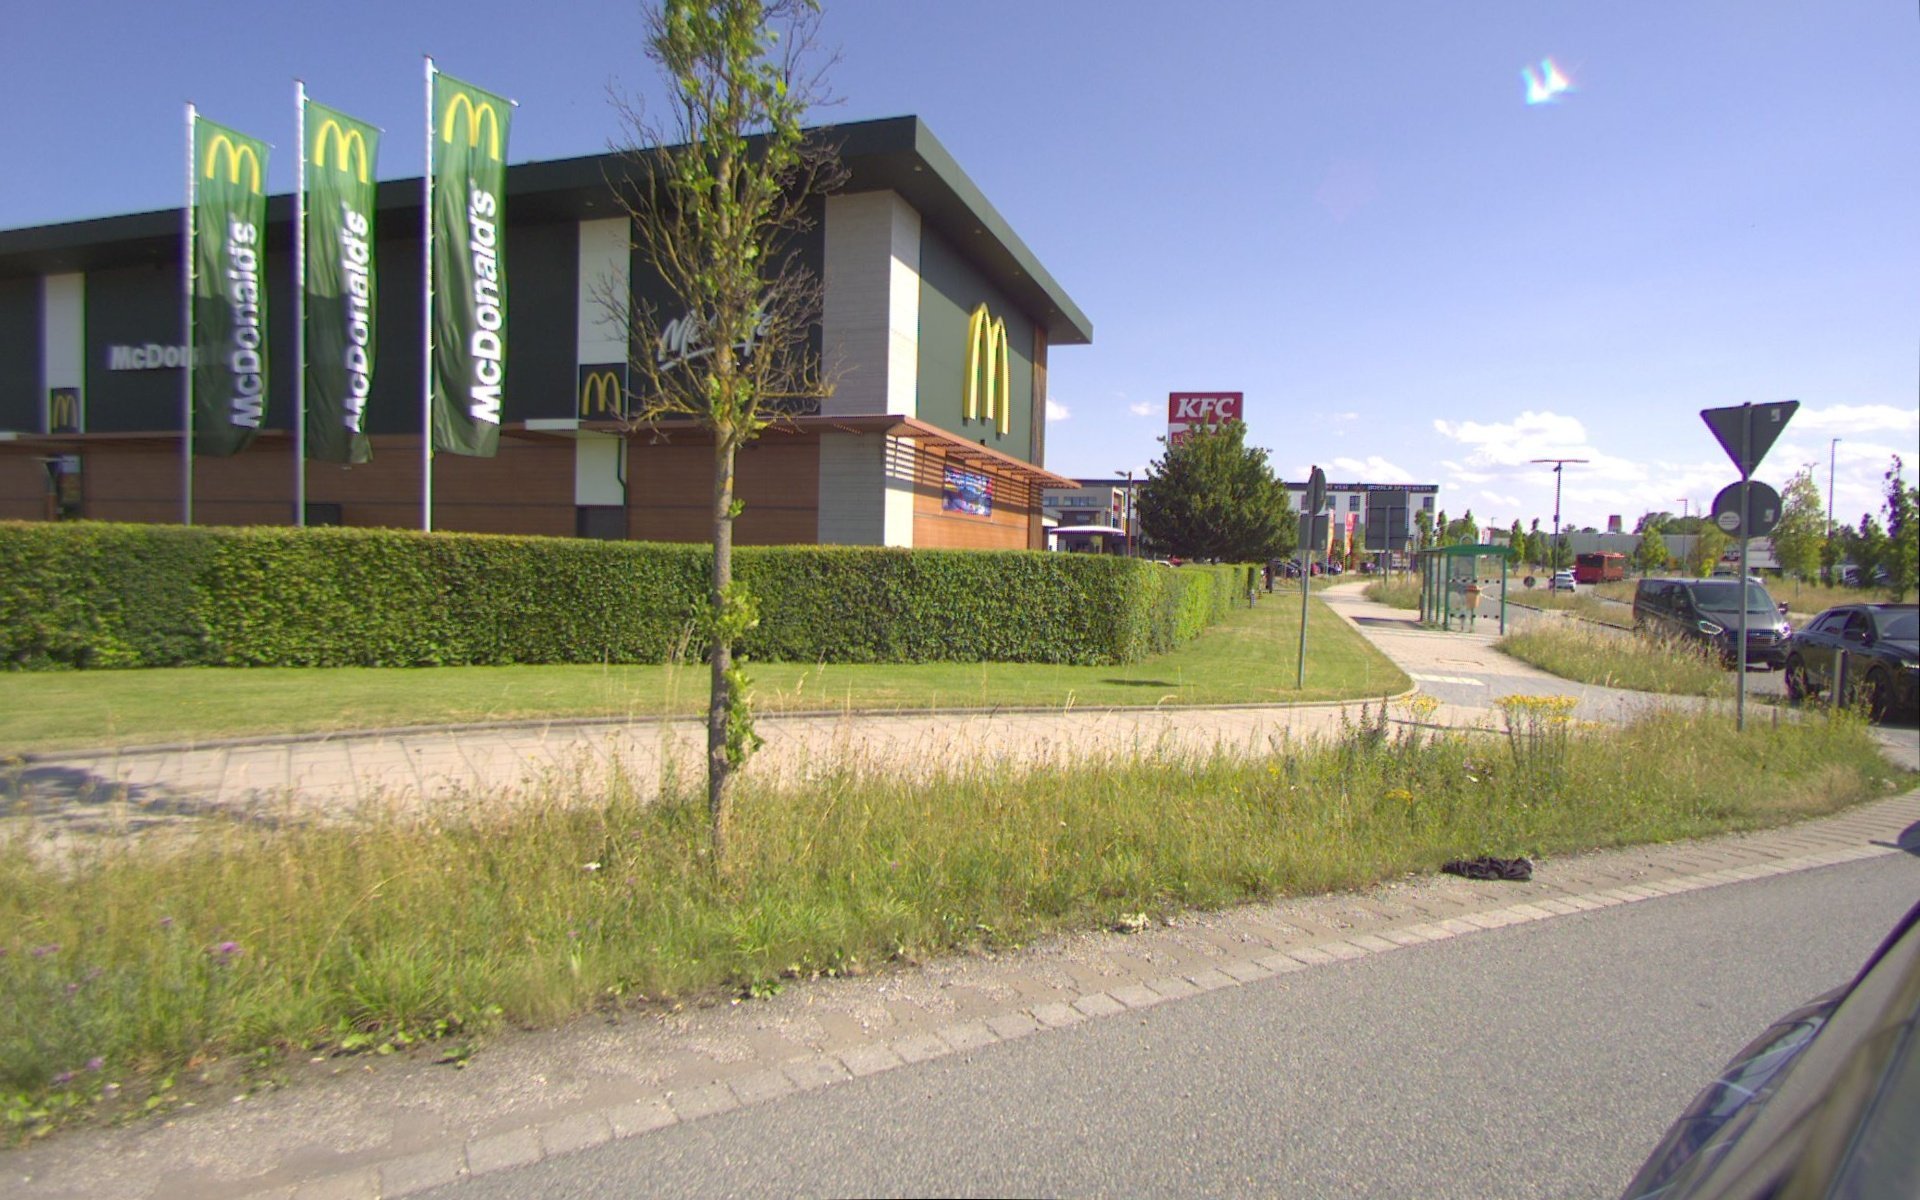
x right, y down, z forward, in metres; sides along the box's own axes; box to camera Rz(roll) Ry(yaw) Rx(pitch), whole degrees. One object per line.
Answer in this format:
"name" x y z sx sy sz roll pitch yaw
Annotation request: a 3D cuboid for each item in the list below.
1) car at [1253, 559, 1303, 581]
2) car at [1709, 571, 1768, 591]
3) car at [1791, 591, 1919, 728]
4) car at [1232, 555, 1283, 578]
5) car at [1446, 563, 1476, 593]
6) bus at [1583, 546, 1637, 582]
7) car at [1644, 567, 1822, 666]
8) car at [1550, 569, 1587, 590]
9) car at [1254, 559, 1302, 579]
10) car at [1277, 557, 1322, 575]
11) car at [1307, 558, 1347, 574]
"car" 30.643 -2.908 97.548 4.158 2.038 1.911 3 3 33
"car" 71.093 -1.761 92.486 1.589 1.697 3.947 0 3 -36
"car" 14.486 0.789 15.211 1.840 1.709 3.975 0 2 20
"car" 27.836 -3.179 94.806 4.157 2.038 1.911 3 3 33
"car" 33.812 -1.490 68.334 1.713 1.927 3.965 3 2 26
"bus" 64.267 -3.492 99.910 2.608 3.281 11.701 3 3 42
"car" 18.243 0.292 24.179 2.055 2.073 4.653 0 2 20
"car" 45.427 -1.533 75.485 1.788 1.433 4.322 3 3 38
"car" 31.367 -3.059 99.901 4.164 1.880 1.780 3 3 37
"car" 35.822 -3.594 106.844 4.163 1.783 1.800 3 3 36
"car" 40.481 -3.737 111.573 3.797 1.639 1.737 3 3 32
